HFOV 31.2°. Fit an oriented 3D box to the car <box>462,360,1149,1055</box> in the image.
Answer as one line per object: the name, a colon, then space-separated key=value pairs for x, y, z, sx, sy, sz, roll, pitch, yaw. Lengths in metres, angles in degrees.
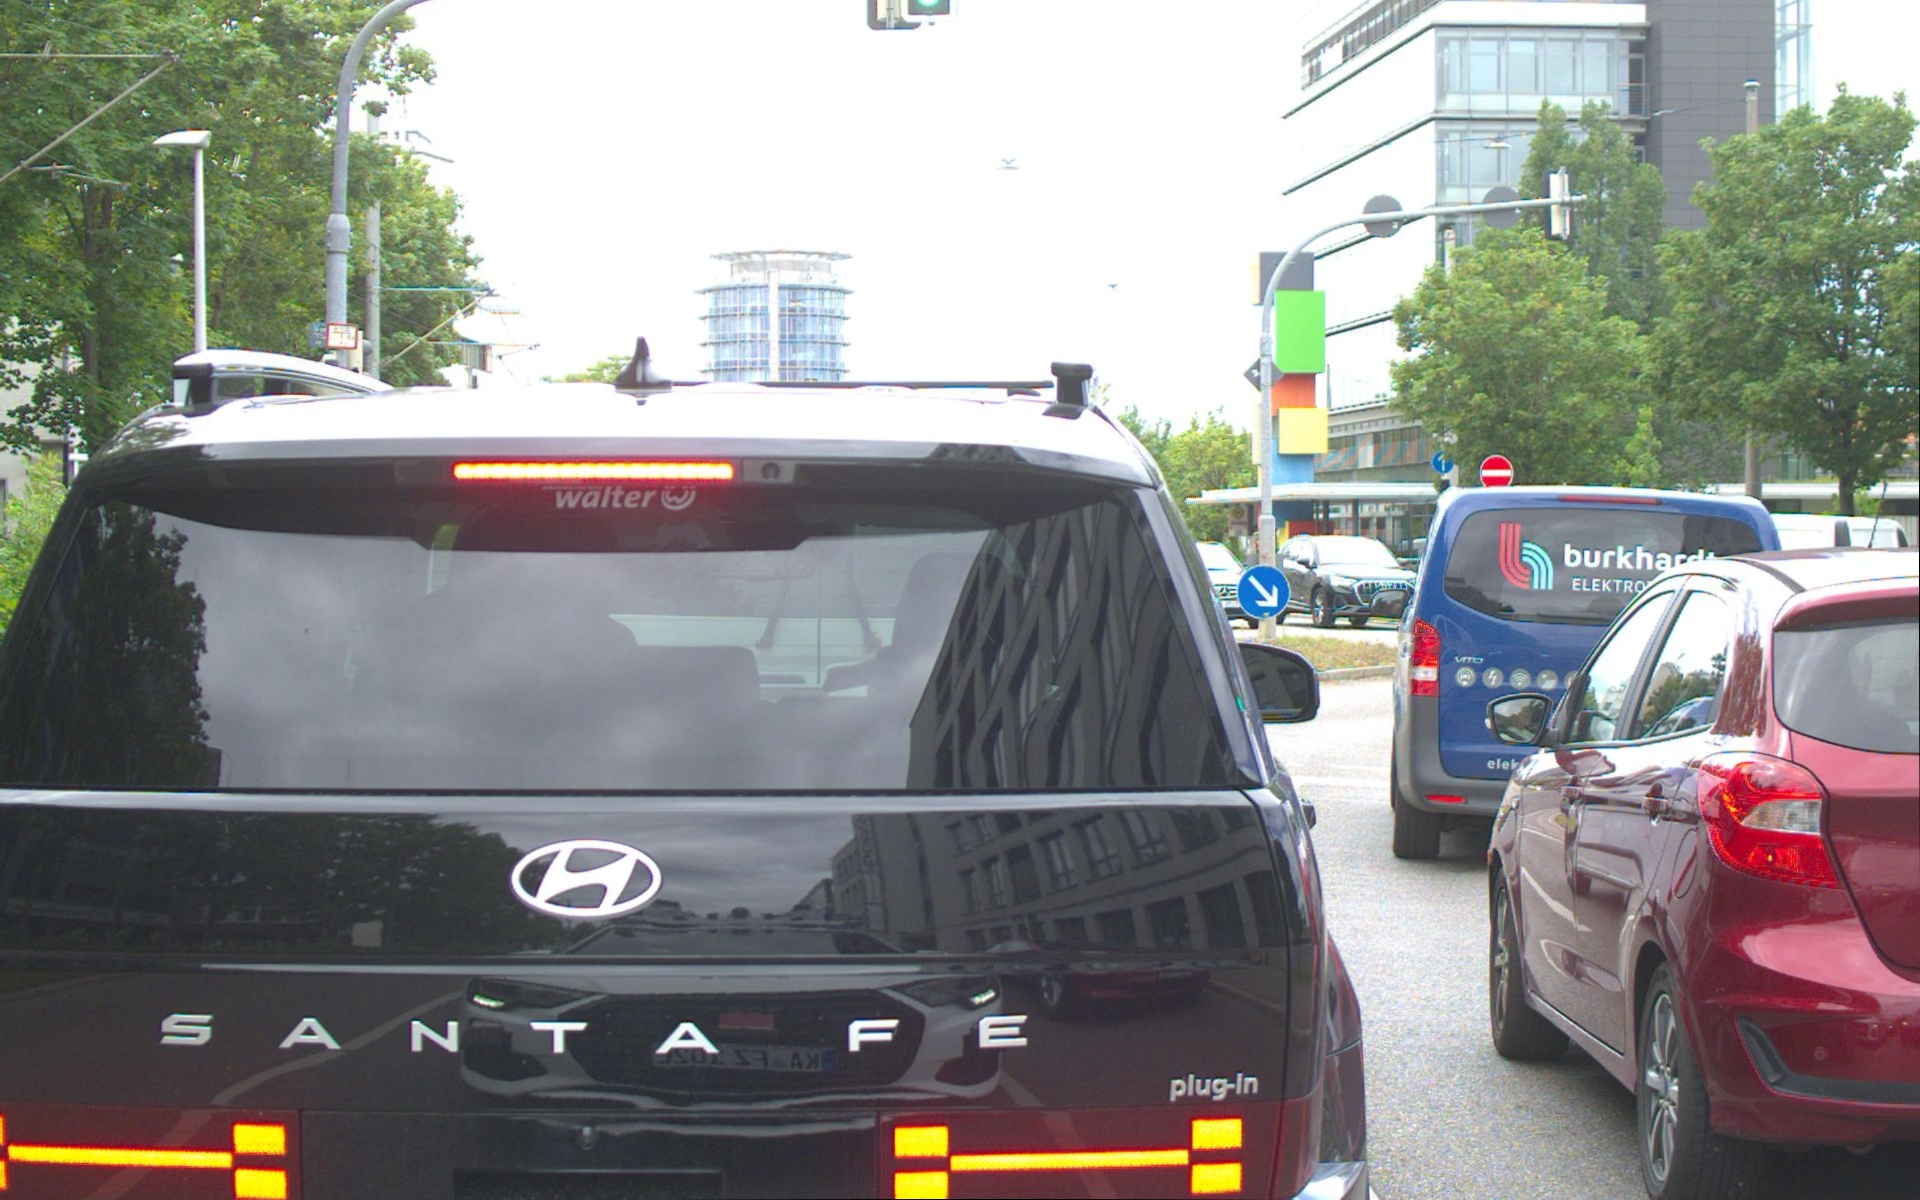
car: x=-0.332 y=0.265 z=12.317 sx=1.902 sy=1.962 sz=4.635 roll=2 pitch=1 yaw=4

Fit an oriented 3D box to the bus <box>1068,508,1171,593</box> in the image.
bus: x=6.116 y=-1.883 z=133.218 sx=2.966 sy=3.106 sz=9.245 roll=-1 pitch=0 yaw=-4

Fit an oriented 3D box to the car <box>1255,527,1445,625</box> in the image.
car: x=6.752 y=-0.447 z=59.966 sx=1.887 sy=1.559 sz=4.397 roll=1 pitch=2 yaw=-13

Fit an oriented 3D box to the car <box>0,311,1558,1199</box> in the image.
car: x=-0.380 y=0.537 z=5.795 sx=1.902 sy=1.725 sz=4.446 roll=2 pitch=1 yaw=-1

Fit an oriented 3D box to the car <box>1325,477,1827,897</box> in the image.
car: x=3.041 y=0.348 z=17.955 sx=1.902 sy=1.852 sz=4.709 roll=2 pitch=1 yaw=2

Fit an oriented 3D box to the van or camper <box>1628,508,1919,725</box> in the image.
van or camper: x=7.978 y=0.085 z=33.161 sx=1.996 sy=1.911 sz=4.403 roll=2 pitch=2 yaw=24

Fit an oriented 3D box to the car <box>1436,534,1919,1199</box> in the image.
car: x=2.356 y=0.592 z=8.715 sx=1.744 sy=1.476 sz=3.719 roll=1 pitch=1 yaw=0

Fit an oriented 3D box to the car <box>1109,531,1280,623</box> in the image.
car: x=3.956 y=-0.416 z=58.700 sx=1.782 sy=1.421 sz=4.397 roll=1 pitch=2 yaw=-11
